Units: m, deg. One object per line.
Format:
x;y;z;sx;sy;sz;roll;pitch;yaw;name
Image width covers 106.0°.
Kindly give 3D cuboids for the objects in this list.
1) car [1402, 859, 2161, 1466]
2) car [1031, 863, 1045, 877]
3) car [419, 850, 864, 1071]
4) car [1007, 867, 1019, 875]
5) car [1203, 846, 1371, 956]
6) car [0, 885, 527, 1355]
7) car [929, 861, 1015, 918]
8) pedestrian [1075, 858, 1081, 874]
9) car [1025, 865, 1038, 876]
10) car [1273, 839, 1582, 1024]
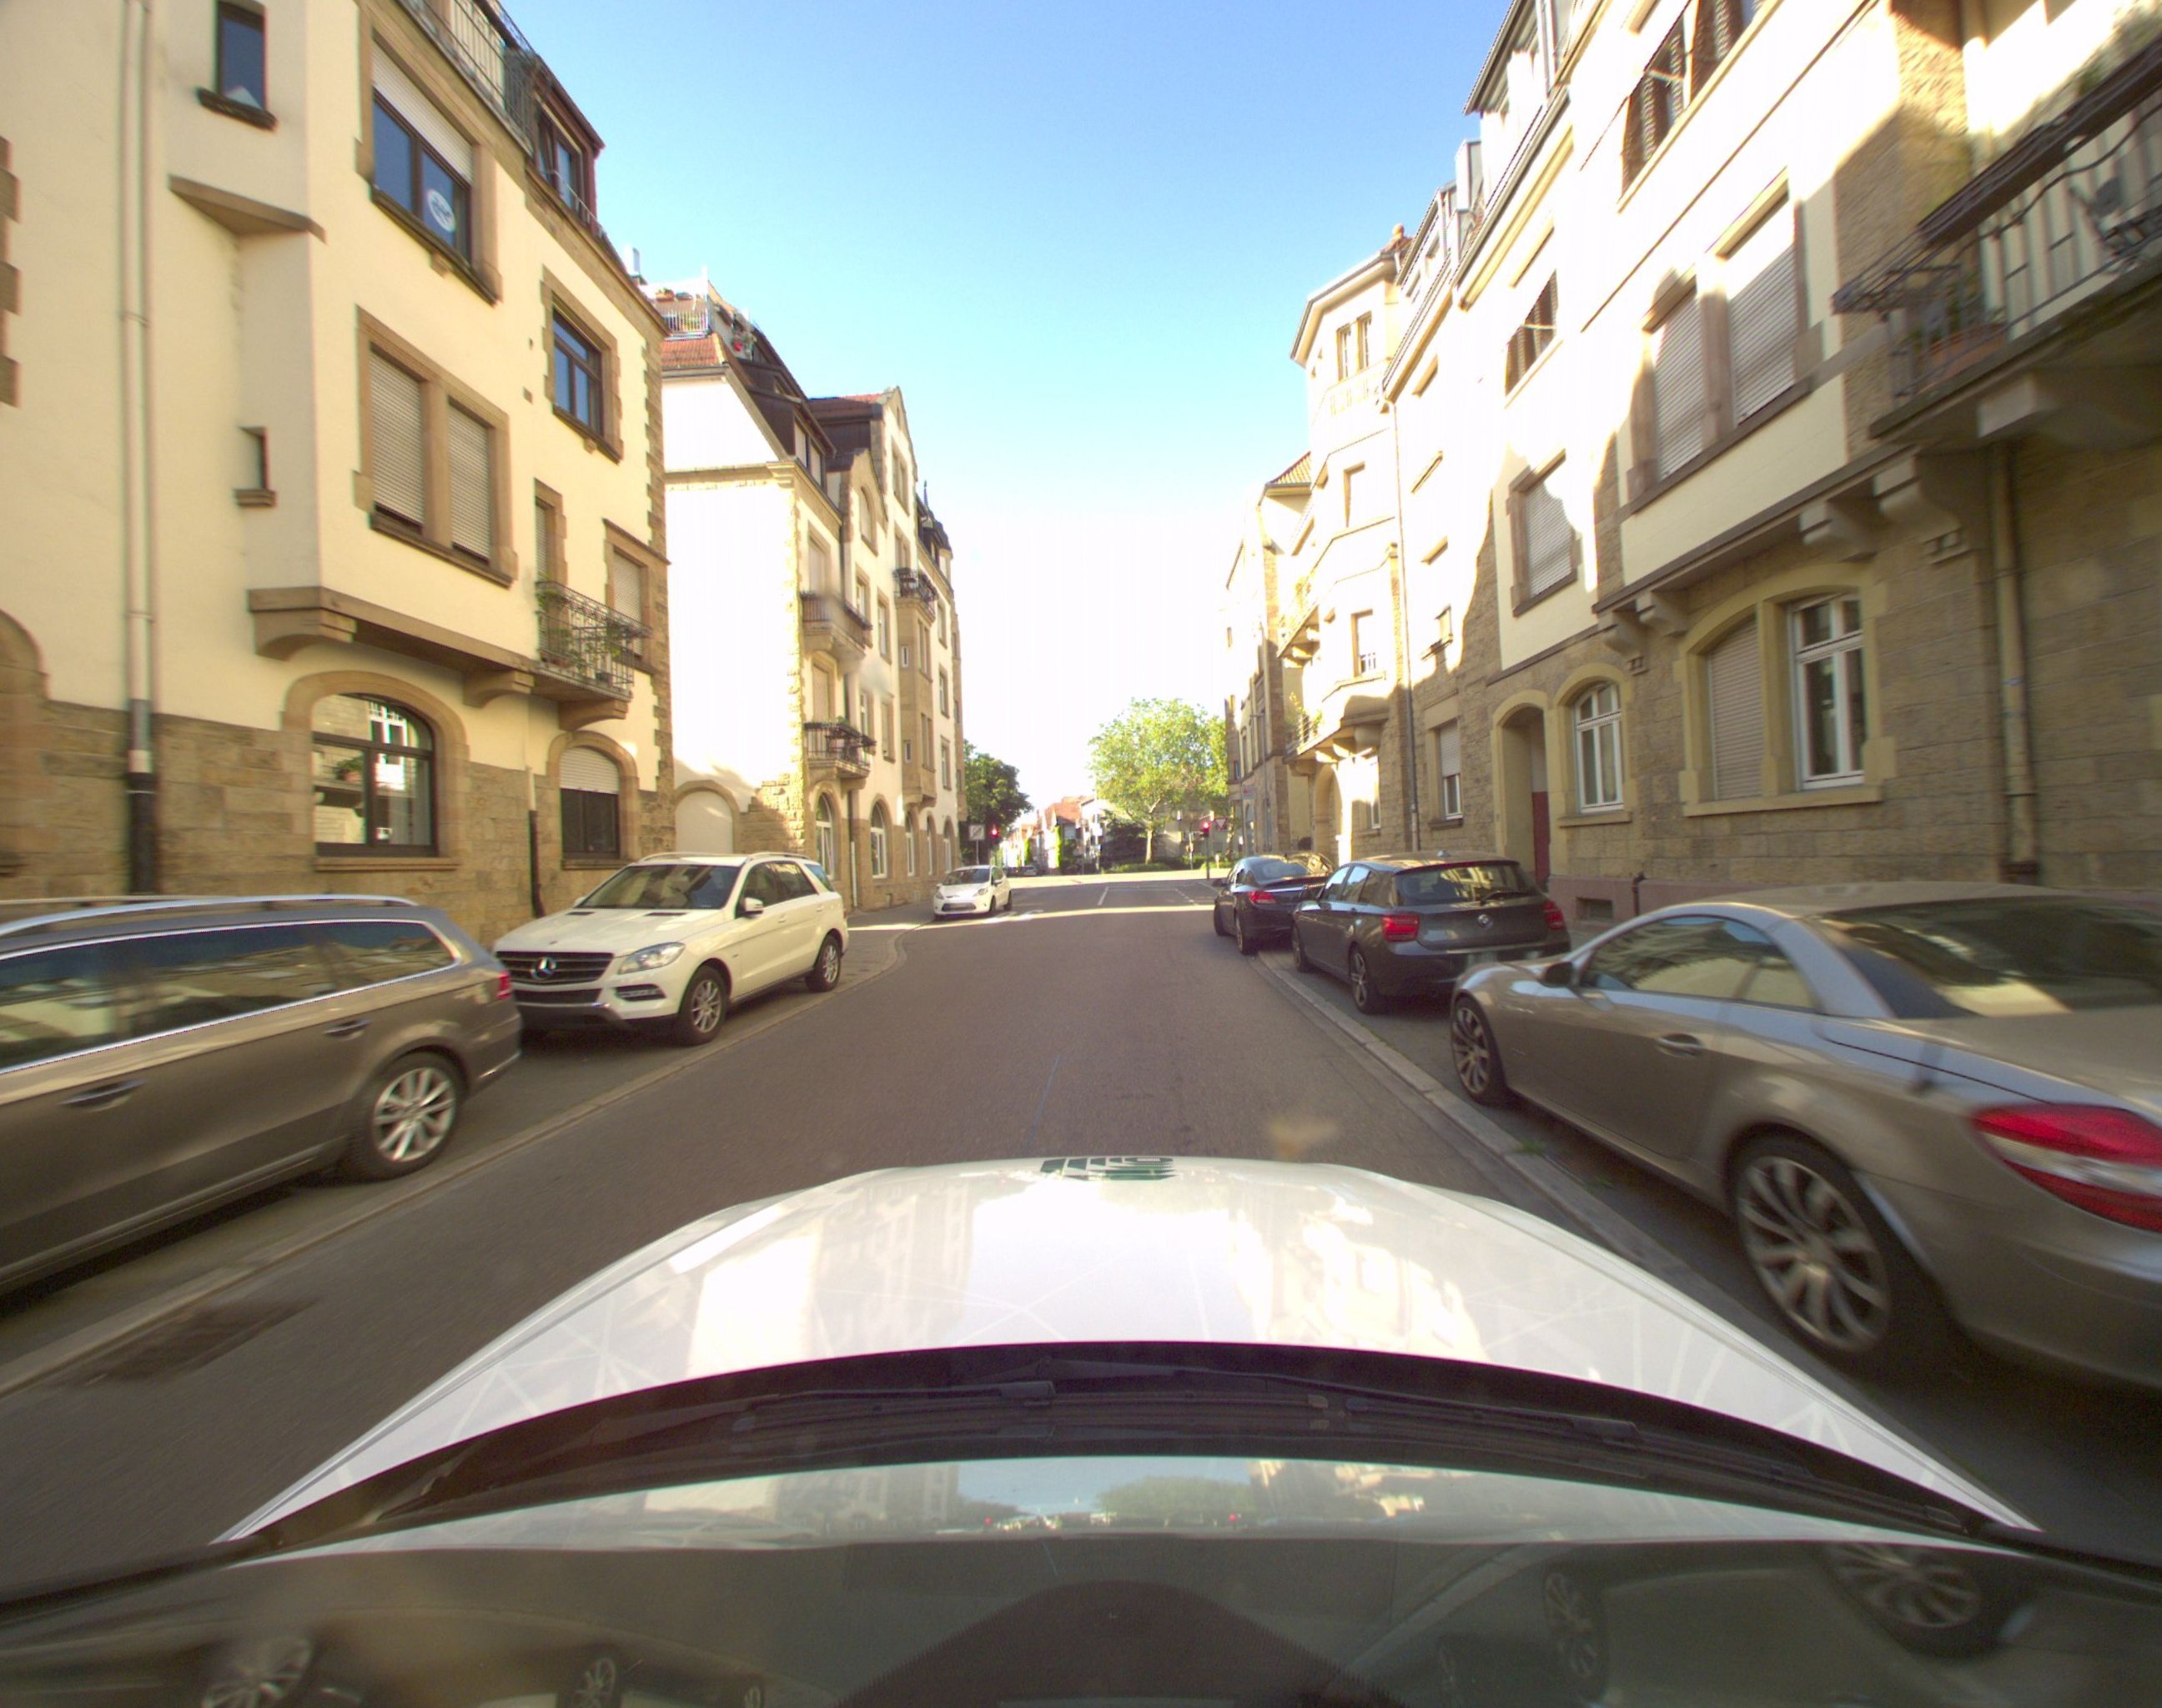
3.001;0.710;3.761;1.685;1.254;3.946;-3;0;4;car
-6.813;2.445;127.389;1.990;2.013;3.993;-3;0;-5;car
-4.128;0.835;8.795;1.883;1.722;4.733;-1;0;5;car
-11.717;2.903;139.747;1.737;1.336;3.822;-2;0;-9;car
3.232;0.670;13.679;1.858;1.462;4.342;-3;0;3;car
-4.403;0.947;3.027;1.567;1.487;4.283;-1;0;3;car
-3.112;0.980;23.958;1.625;1.464;3.741;-2;0;6;car
-0.368;1.391;92.284;0.631;1.750;0.659;-1;-1;0;pedestrian
-6.918;2.256;113.519;1.672;1.483;3.514;-1;-1;-6;car
3.359;0.646;8.855;1.644;1.442;4.261;-3;0;2;car
